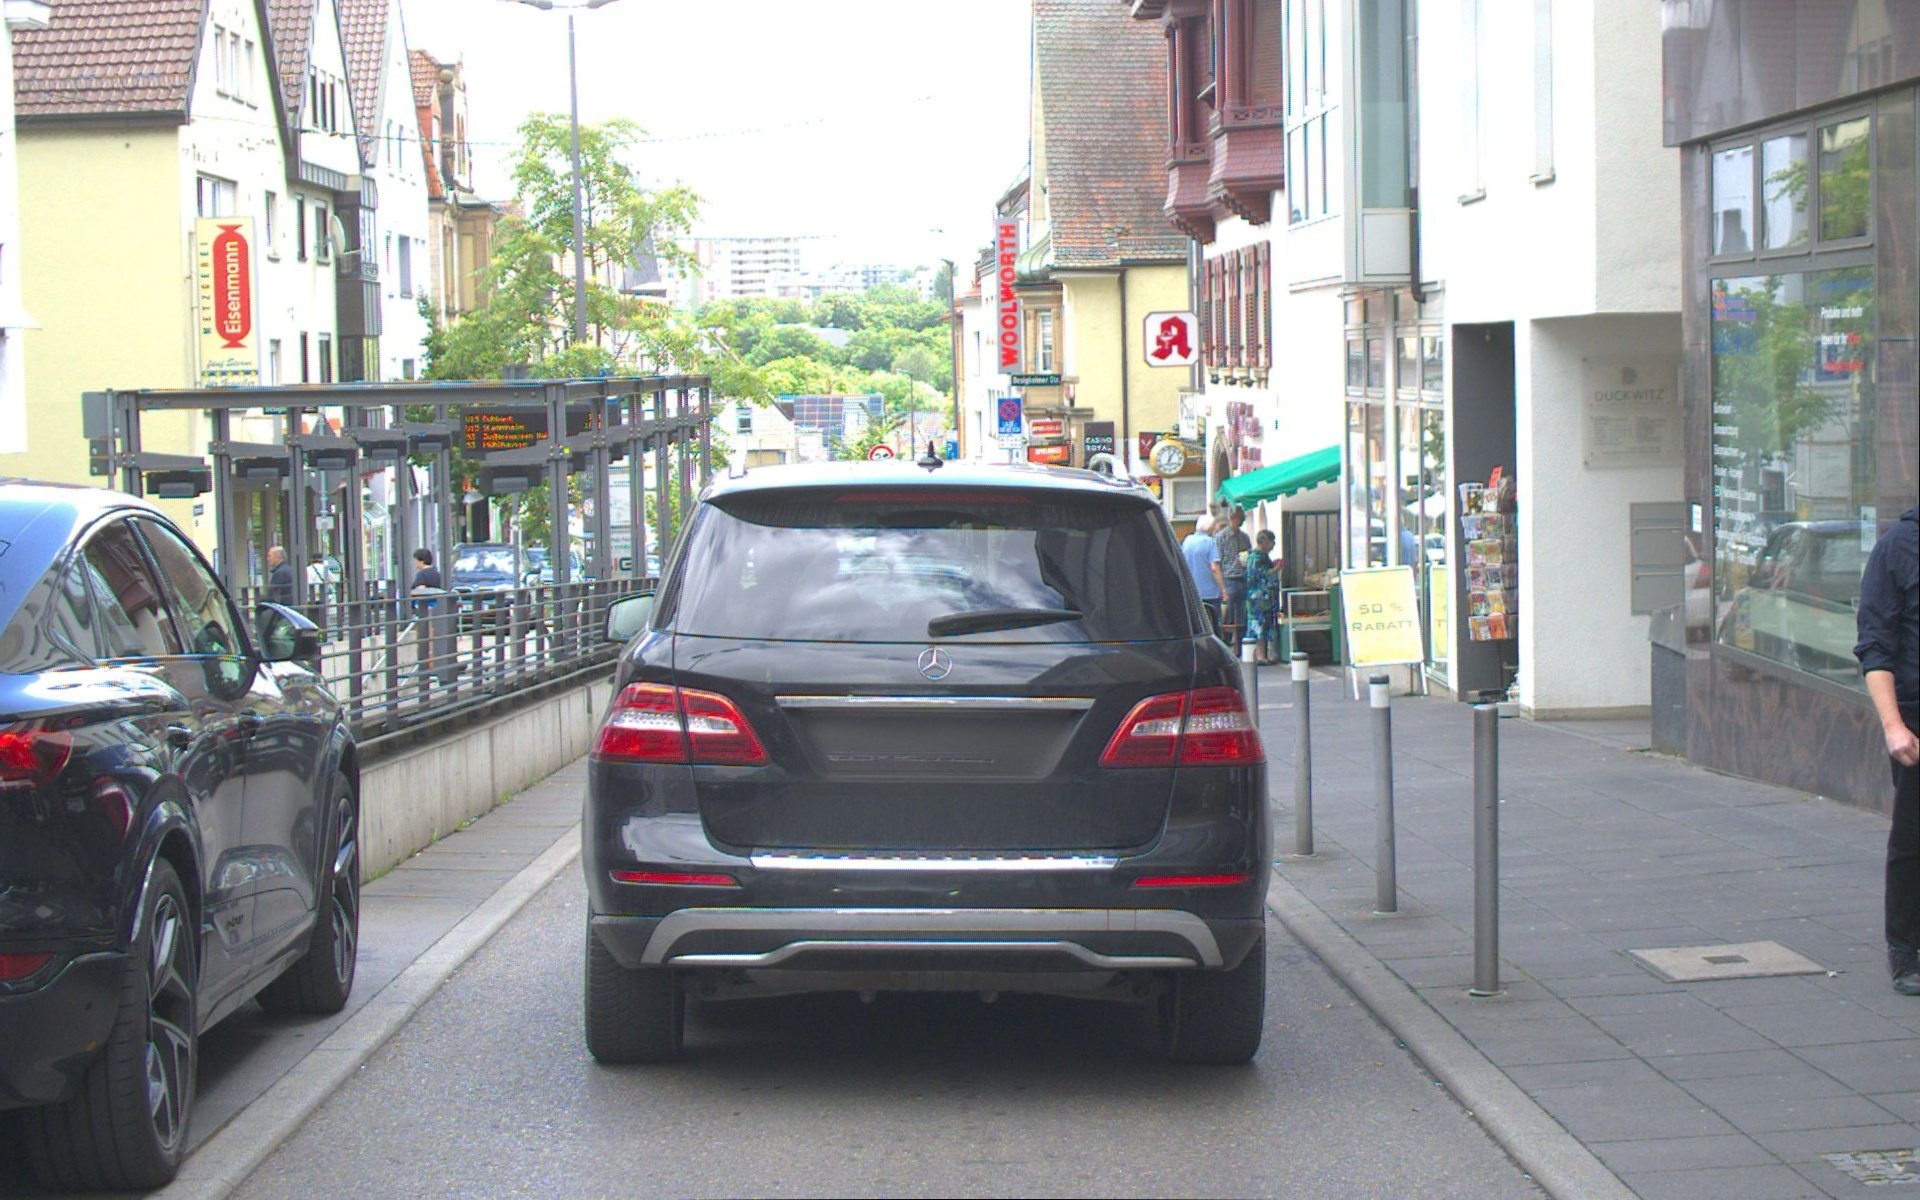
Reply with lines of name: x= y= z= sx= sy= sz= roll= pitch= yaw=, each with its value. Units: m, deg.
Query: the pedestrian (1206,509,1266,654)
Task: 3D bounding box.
pedestrian: x=3.243 y=-0.218 z=40.473 sx=0.573 sy=1.683 sz=0.566 roll=1 pitch=1 yaw=-7

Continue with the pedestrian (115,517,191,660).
pedestrian: x=-9.656 y=-0.143 z=41.167 sx=0.725 sy=1.683 sz=0.768 roll=1 pitch=1 yaw=-1

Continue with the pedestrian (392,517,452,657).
pedestrian: x=-6.567 y=-0.165 z=41.967 sx=0.625 sy=1.683 sz=0.679 roll=1 pitch=1 yaw=-1

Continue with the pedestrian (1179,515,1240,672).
pedestrian: x=2.775 y=-0.082 z=38.239 sx=0.542 sy=1.720 sz=0.528 roll=-1 pitch=1 yaw=-7

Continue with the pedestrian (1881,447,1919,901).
pedestrian: x=3.858 y=0.259 z=12.610 sx=0.662 sy=1.683 sz=0.543 roll=-4 pitch=1 yaw=-7

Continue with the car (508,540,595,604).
car: x=-9.733 y=-0.682 z=82.032 sx=1.660 sy=1.485 sz=3.748 roll=1 pitch=1 yaw=-1

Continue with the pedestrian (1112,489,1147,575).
pedestrian: x=3.335 y=-1.340 z=67.699 sx=0.606 sy=1.683 sz=0.724 roll=-1 pitch=1 yaw=-1

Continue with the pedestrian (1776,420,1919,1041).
pedestrian: x=2.887 y=0.349 z=10.099 sx=0.711 sy=1.747 sz=0.787 roll=-3 pitch=1 yaw=-1

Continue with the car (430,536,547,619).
car: x=-8.831 y=-0.441 z=64.687 sx=1.689 sy=1.485 sz=3.979 roll=1 pitch=1 yaw=-1

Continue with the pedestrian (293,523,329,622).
pedestrian: x=-11.115 y=-0.471 z=58.901 sx=0.513 sy=1.683 sz=0.541 roll=1 pitch=1 yaw=-1

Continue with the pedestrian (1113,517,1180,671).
pedestrian: x=2.055 y=-0.068 z=37.998 sx=0.621 sy=1.683 sz=0.566 roll=1 pitch=1 yaw=-7

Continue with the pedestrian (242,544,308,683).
pedestrian: x=-8.373 y=0.159 z=42.035 sx=0.611 sy=1.683 sz=0.563 roll=0 pitch=1 yaw=-31

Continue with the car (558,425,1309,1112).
car: x=-0.162 y=0.401 z=10.807 sx=1.900 sy=1.741 sz=4.001 roll=1 pitch=1 yaw=-3

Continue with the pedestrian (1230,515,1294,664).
pedestrian: x=3.479 y=-0.130 z=39.601 sx=0.573 sy=1.683 sz=0.566 roll=-2 pitch=1 yaw=-7

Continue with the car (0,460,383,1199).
car: x=-2.765 y=0.494 z=8.902 sx=1.956 sy=1.634 sz=4.315 roll=1 pitch=1 yaw=-2

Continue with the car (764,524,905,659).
car: x=-1.653 y=-0.142 z=45.944 sx=1.770 sy=1.707 sz=4.000 roll=1 pitch=1 yaw=-1

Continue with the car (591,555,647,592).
car: x=-10.353 y=-0.807 z=104.531 sx=1.388 sy=1.066 sz=3.113 roll=-1 pitch=1 yaw=-1
